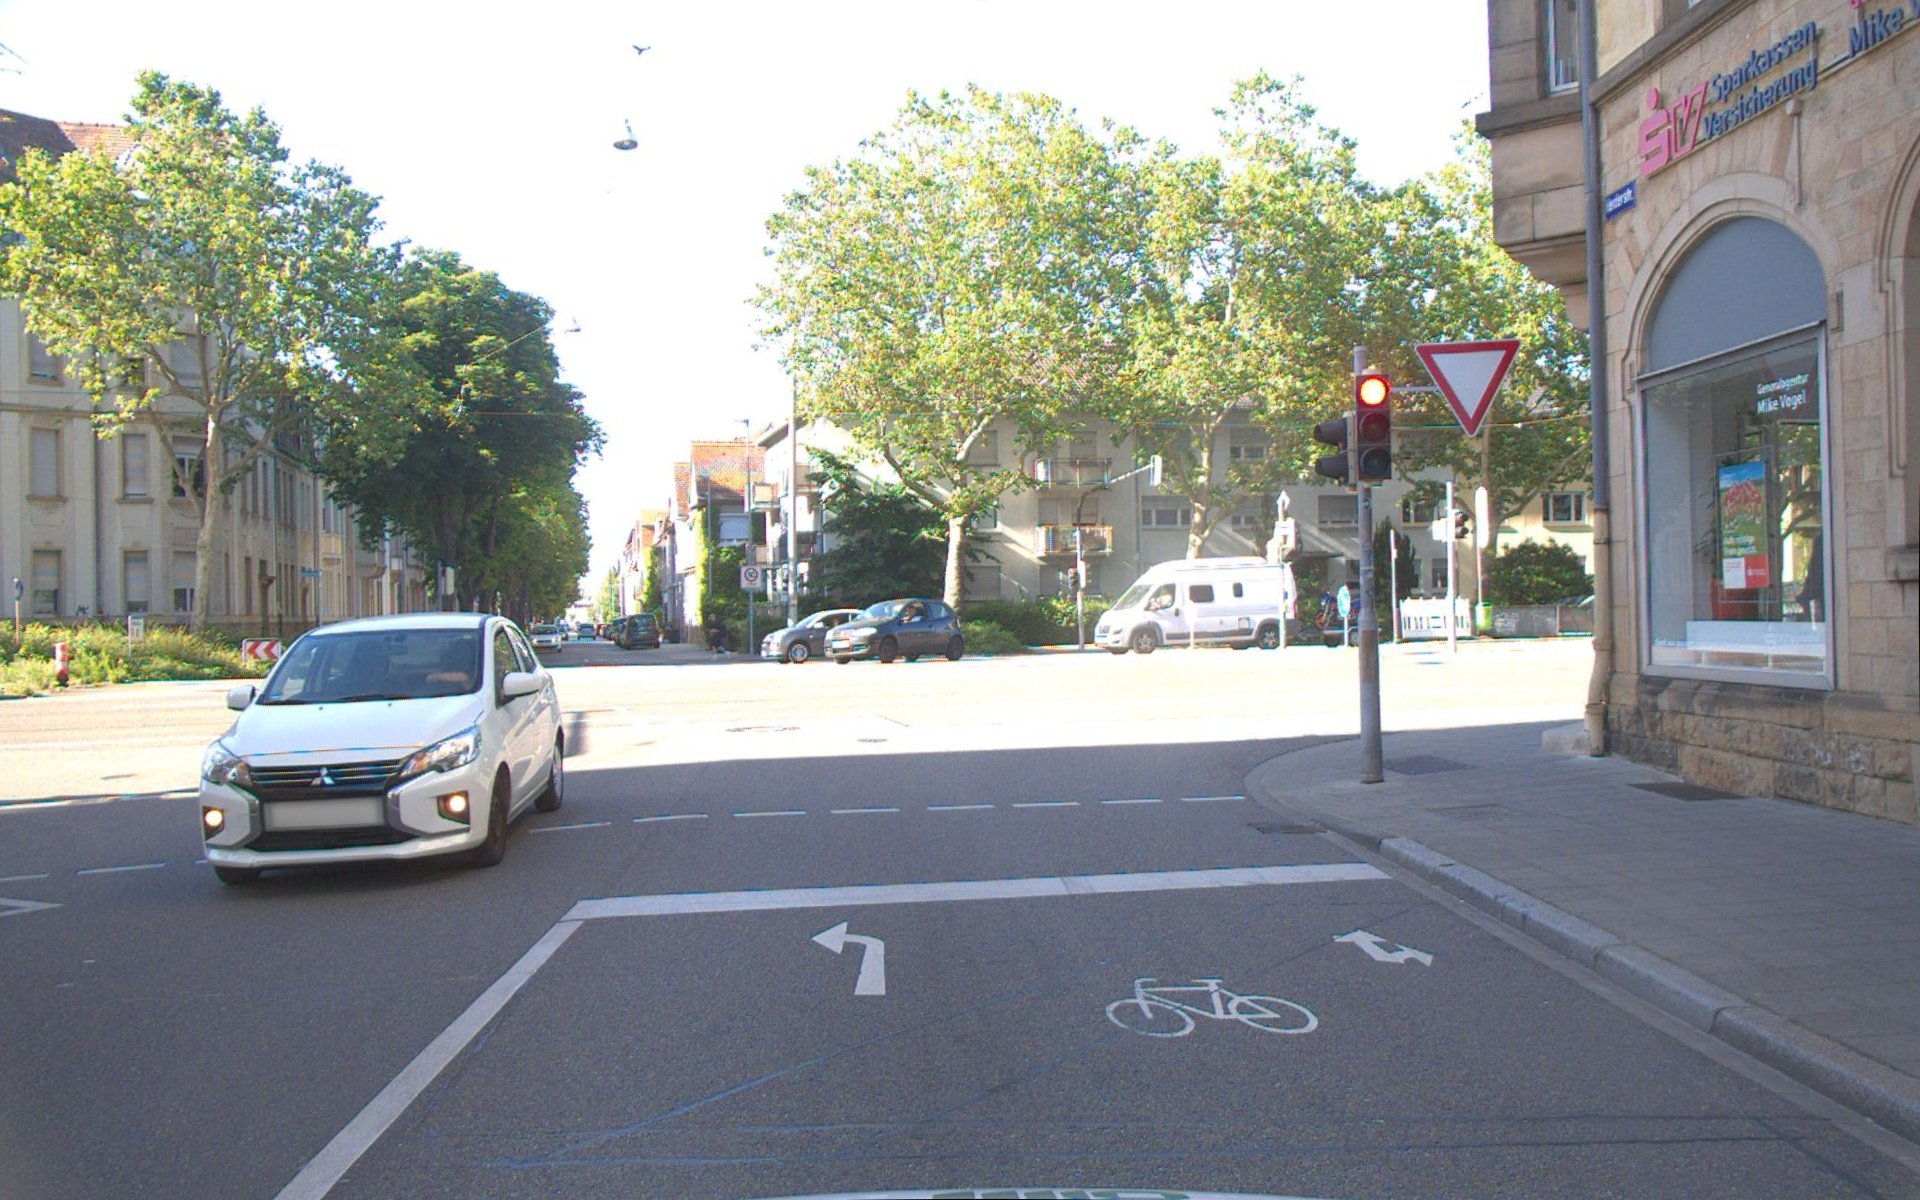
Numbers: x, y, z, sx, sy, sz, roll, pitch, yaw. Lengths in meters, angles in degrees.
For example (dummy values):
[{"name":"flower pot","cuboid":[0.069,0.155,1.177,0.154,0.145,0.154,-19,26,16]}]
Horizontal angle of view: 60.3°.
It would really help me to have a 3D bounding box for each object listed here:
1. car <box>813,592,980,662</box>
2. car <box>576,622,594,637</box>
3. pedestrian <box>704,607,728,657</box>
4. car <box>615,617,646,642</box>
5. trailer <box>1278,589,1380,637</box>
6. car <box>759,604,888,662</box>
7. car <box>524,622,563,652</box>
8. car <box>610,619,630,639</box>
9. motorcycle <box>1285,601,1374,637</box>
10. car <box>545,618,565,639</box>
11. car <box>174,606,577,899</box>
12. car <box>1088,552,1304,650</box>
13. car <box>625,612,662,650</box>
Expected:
[{"name":"car","cuboid":[-1.426,0.600,38.688,1.628,1.476,3.978,-2,0,40]},{"name":"car","cuboid":[-38.371,2.964,169.228,1.644,1.509,3.512,0,-1,-11]},{"name":"pedestrian","cuboid":[-8.849,1.157,59.956,0.629,1.780,0.649,0,-1,-40]},{"name":"car","cuboid":[-24.945,2.246,124.994,1.961,1.865,3.982,0,-1,-16]},{"name":"trailer","cuboid":[11.027,0.385,49.454,2.699,1.334,1.263,-2,0,-20]},{"name":"car","cuboid":[-3.869,0.911,46.915,3.333,1.513,1.514,-2,0,-23]},{"name":"car","cuboid":[-22.498,1.965,89.281,1.960,1.471,3.984,-2,0,-15]},{"name":"car","cuboid":[-29.974,2.511,145.757,1.610,1.661,3.271,-2,0,-11]},{"name":"motorcycle","cuboid":[13.558,0.693,60.770,2.818,1.199,1.471,-2,0,-17]},{"name":"car","cuboid":[-35.347,2.484,144.445,1.519,1.661,3.225,-2,0,-11]},{"name":"car","cuboid":[-3.569,0.816,10.781,1.593,1.498,3.794,-2,0,-6]},{"name":"car","cuboid":[6.883,0.002,48.137,5.949,2.613,1.989,-2,0,-19]},{"name":"car","cuboid":[-18.059,1.761,94.383,1.957,2.049,3.990,-2,0,-10]}]
